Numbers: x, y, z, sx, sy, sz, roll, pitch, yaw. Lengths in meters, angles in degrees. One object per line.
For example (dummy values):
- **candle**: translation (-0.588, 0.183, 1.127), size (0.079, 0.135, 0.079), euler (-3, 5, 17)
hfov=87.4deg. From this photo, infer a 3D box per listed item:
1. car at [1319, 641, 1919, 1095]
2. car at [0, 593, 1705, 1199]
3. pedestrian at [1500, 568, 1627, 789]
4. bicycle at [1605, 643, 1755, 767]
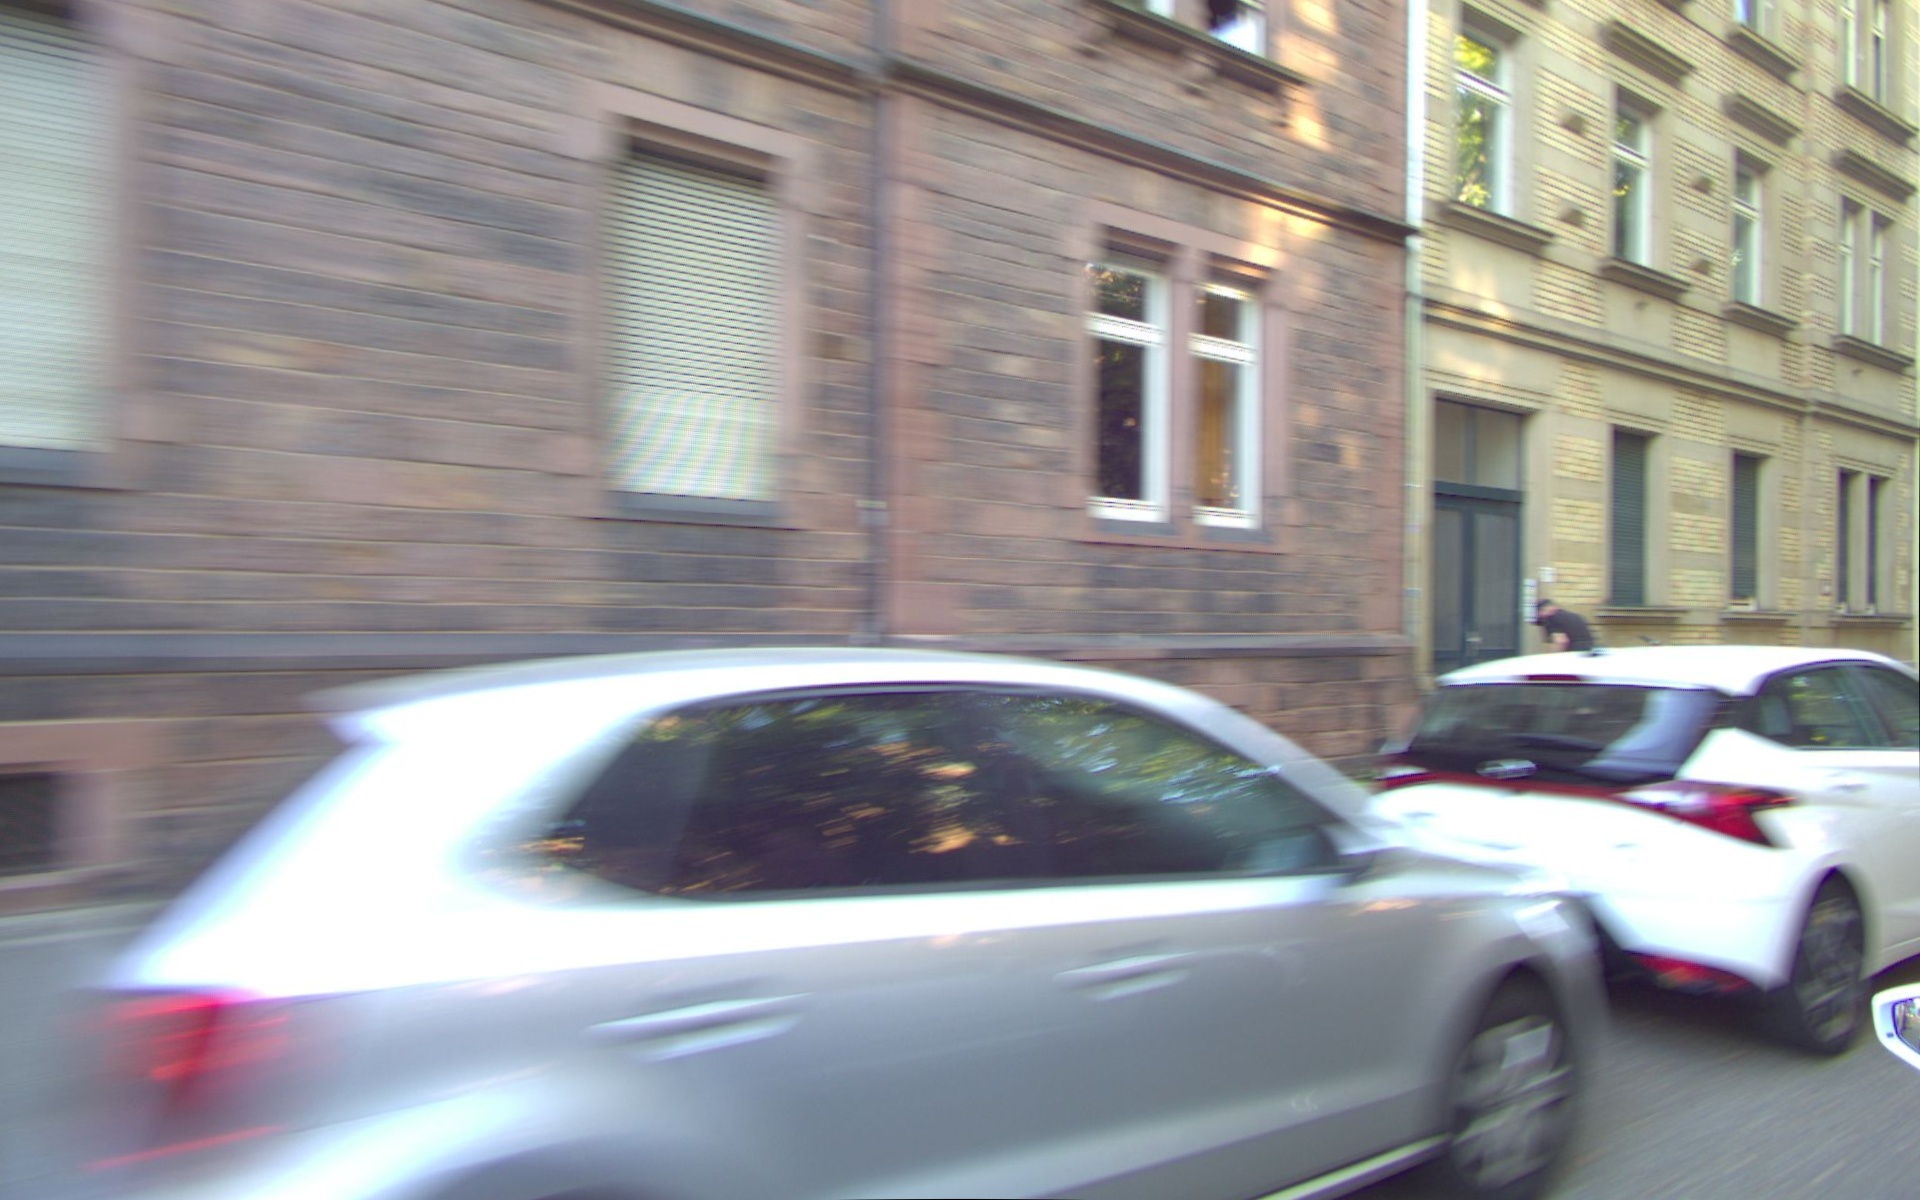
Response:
- **car**: translation (3.730, 0.945, 4.893), size (3.757, 1.435, 1.702), euler (2, -3, -30)
- **car**: translation (0.140, 0.803, 2.786), size (3.757, 1.435, 1.702), euler (2, -3, -30)
- **pedestrian**: translation (5.646, 0.701, 9.413), size (0.755, 1.954, 0.761), euler (1, 0, -34)
- **bicycle**: translation (7.571, 1.055, 10.537), size (1.823, 1.163, 0.567), euler (1, 2, -31)
